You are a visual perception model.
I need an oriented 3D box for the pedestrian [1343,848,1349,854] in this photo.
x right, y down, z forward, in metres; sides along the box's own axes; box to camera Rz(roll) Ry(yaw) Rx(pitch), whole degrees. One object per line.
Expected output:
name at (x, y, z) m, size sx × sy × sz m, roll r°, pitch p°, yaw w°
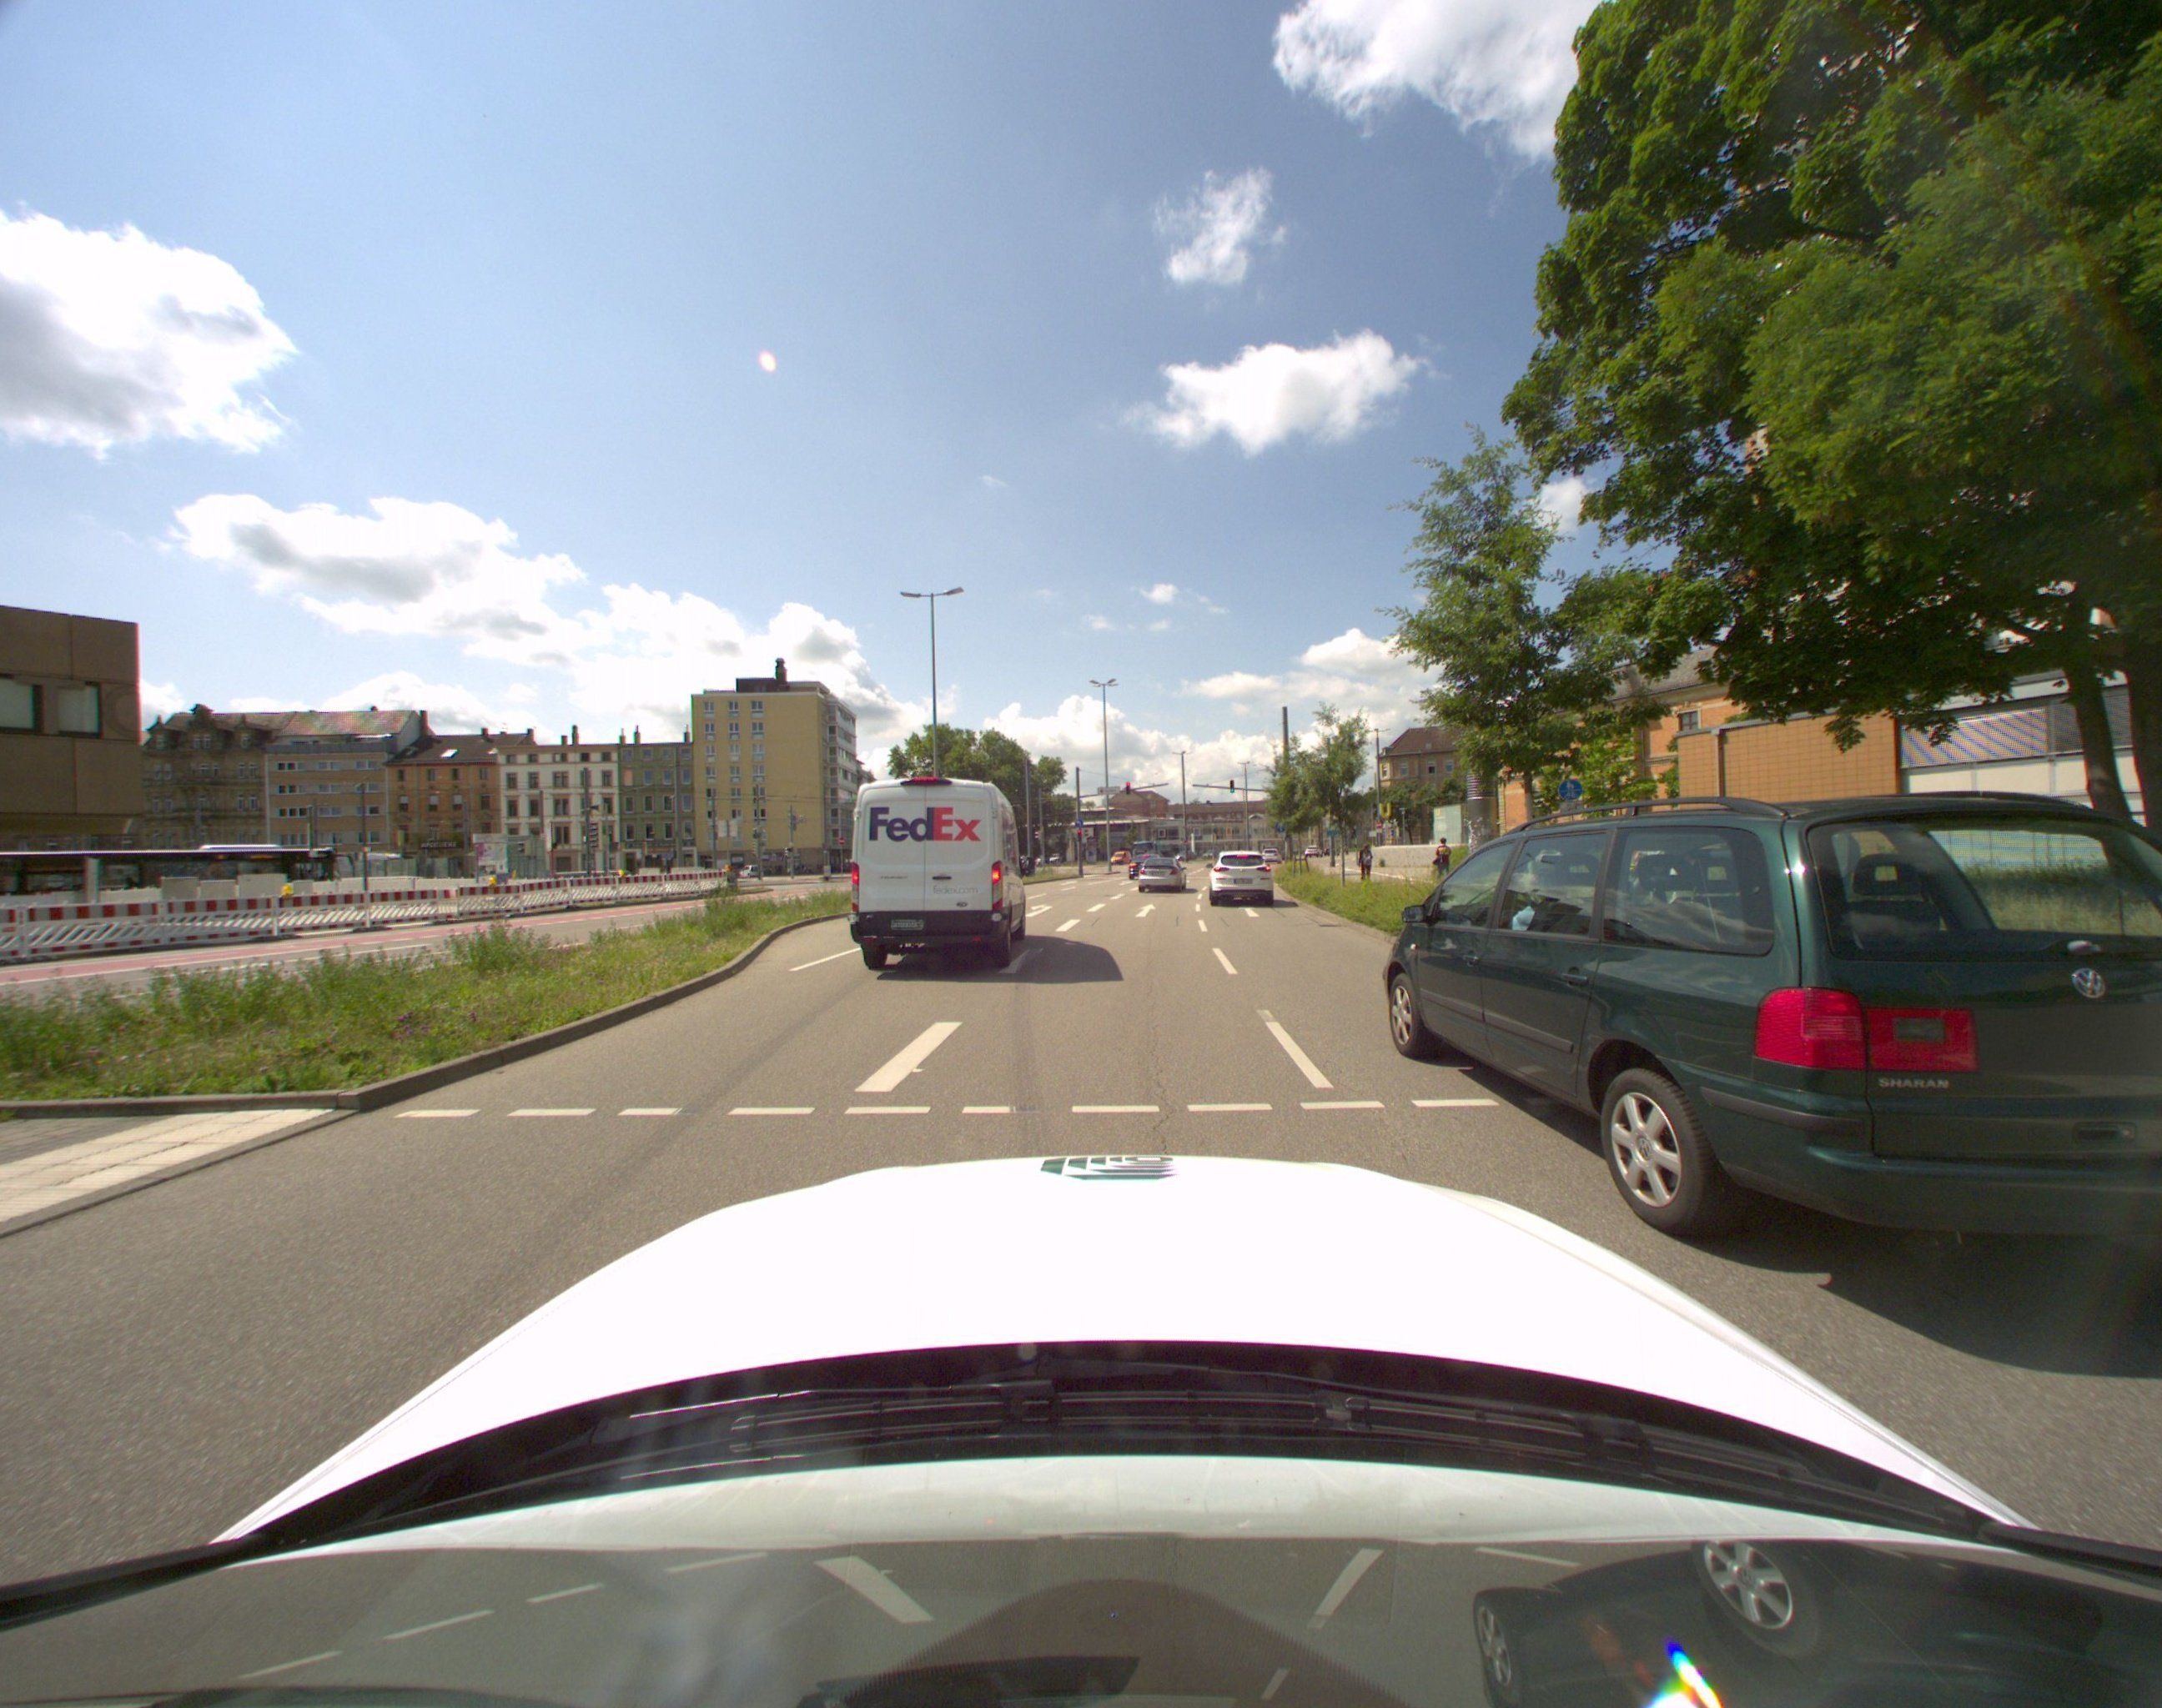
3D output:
pedestrian at (39.595, -0.442, 121.669) m, size 0.519 × 0.906 × 1.570 m, roll -1°, pitch -1°, yaw 27°

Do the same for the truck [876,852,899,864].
truck at (-35.440, 0.746, 149.376) m, size 1.790 × 2.120 × 4.800 m, roll -2°, pitch 0°, yaw 17°

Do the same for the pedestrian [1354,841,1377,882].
pedestrian at (11.255, 0.294, 32.209) m, size 0.751 × 1.590 × 0.763 m, roll -1°, pitch -1°, yaw 11°

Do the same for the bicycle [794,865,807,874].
bicycle at (-34.810, 1.934, 101.066) m, size 2.107 × 1.147 × 0.515 m, roll -2°, pitch -1°, yaw 39°

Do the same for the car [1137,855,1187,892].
car at (3.455, 0.758, 33.976) m, size 1.730 × 1.391 × 4.191 m, roll -1°, pitch 0°, yaw 10°

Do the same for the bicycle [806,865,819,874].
bicycle at (-33.516, 1.926, 101.630) m, size 2.107 × 1.147 × 0.537 m, roll -2°, pitch -1°, yaw 40°

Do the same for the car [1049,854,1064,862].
car at (-4.631, 0.743, 152.551) m, size 1.981 × 1.574 × 4.189 m, roll -1°, pitch -1°, yaw 9°

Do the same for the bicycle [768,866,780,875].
bicycle at (-38.007, 2.045, 100.867) m, size 2.107 × 1.147 × 0.515 m, roll -2°, pitch -1°, yaw 42°

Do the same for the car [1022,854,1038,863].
car at (-9.645, 0.829, 153.688) m, size 1.981 × 1.574 × 4.189 m, roll -1°, pitch -1°, yaw 9°

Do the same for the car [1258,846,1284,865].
car at (18.183, 0.146, 77.858) m, size 1.865 × 1.641 × 3.977 m, roll -2°, pitch 0°, yaw 20°

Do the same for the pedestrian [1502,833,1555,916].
pedestrian at (9.139, 0.419, 16.655) m, size 0.646 × 1.626 × 0.777 m, roll -4°, pitch -1°, yaw 11°

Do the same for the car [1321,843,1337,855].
car at (38.489, -0.778, 126.504) m, size 1.864 × 1.641 × 3.979 m, roll -2°, pitch 0°, yaw 23°

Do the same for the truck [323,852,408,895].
truck at (-68.027, 1.850, 77.499) m, size 5.423 × 3.969 × 2.703 m, roll -1°, pitch -1°, yaw -5°

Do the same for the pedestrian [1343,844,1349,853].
pedestrian at (39.576, -0.820, 121.676) m, size 0.686 × 1.457 × 0.684 m, roll -1°, pitch -1°, yaw 27°

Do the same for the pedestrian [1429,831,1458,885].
pedestrian at (12.575, 0.139, 28.249) m, size 0.751 × 1.821 × 0.676 m, roll -1°, pitch -1°, yaw 9°

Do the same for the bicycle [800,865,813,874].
bicycle at (-34.213, 1.931, 101.362) m, size 2.107 × 1.147 × 0.515 m, roll -2°, pitch -1°, yaw 39°

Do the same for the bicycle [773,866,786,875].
bicycle at (-37.442, 2.034, 101.107) m, size 2.107 × 1.147 × 0.515 m, roll -2°, pitch -1°, yaw 42°

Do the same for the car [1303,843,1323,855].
car at (32.853, -0.736, 115.253) m, size 1.863 × 1.641 × 3.981 m, roll -2°, pitch 0°, yaw 27°

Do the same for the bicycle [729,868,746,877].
bicycle at (-42.520, 2.274, 100.822) m, size 1.934 × 1.147 × 0.527 m, roll -1°, pitch -1°, yaw 0°

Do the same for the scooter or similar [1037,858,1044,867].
scooter or similar at (-5.133, 1.027, 102.973) m, size 0.374 × 1.115 × 1.102 m, roll -1°, pitch -1°, yaw 31°

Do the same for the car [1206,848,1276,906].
car at (4.948, 0.656, 25.744) m, size 1.871 × 1.641 × 4.242 m, roll -2°, pitch 0°, yaw 8°

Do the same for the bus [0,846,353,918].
bus at (-41.087, 1.135, 36.522) m, size 2.562 × 2.859 × 12.343 m, roll -2°, pitch -1°, yaw 39°

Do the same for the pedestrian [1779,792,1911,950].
pedestrian at (9.414, 0.201, 10.068) m, size 0.756 × 1.821 × 0.777 m, roll -5°, pitch 0°, yaw -10°

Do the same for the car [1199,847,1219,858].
car at (19.680, -0.276, 125.052) m, size 1.702 × 1.531 × 4.146 m, roll -2°, pitch 0°, yaw 27°

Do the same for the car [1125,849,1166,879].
car at (3.906, 0.539, 48.533) m, size 1.916 × 1.641 × 4.807 m, roll -2°, pitch 0°, yaw 11°

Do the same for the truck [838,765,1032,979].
truck at (-1.996, 0.235, 13.132) m, size 2.131 × 2.640 × 5.914 m, roll -1°, pitch 0°, yaw -1°

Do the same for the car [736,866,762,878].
car at (-37.872, 2.059, 92.942) m, size 1.668 × 1.321 × 3.316 m, roll -2°, pitch 0°, yaw -42°

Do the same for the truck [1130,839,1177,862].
truck at (9.566, -0.525, 106.325) m, size 2.858 × 2.852 × 8.845 m, roll -2°, pitch 0°, yaw 27°

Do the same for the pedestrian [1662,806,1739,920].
pedestrian at (10.214, 0.146, 13.451) m, size 0.754 × 1.821 × 0.637 m, roll -1°, pitch -1°, yaw -4°

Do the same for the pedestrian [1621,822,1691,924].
pedestrian at (9.479, 0.308, 13.443) m, size 0.586 × 1.626 × 0.726 m, roll -1°, pitch -1°, yaw -4°

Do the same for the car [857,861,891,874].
car at (-27.453, 1.770, 108.177) m, size 4.094 × 1.665 × 1.867 m, roll -1°, pitch -1°, yaw -3°

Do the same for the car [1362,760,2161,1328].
car at (3.181, 0.579, 4.701) m, size 1.787 × 1.723 × 4.451 m, roll 0°, pitch 0°, yaw 3°

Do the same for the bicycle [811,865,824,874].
bicycle at (-32.957, 1.923, 101.977) m, size 2.107 × 1.147 × 0.515 m, roll -2°, pitch -1°, yaw 39°

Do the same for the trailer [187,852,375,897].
trailer at (-75.241, 1.937, 76.823) m, size 13.975 × 3.969 × 2.703 m, roll -1°, pitch -1°, yaw -5°

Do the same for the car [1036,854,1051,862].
car at (-7.032, 0.787, 153.247) m, size 1.981 × 1.574 × 4.189 m, roll -1°, pitch -1°, yaw 9°

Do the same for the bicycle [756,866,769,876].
bicycle at (-39.417, 2.101, 100.770) m, size 2.107 × 1.147 × 0.515 m, roll -2°, pitch -1°, yaw 42°

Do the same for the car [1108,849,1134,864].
car at (5.411, 0.341, 109.193) m, size 1.702 × 1.800 × 4.768 m, roll -3°, pitch 0°, yaw 25°
